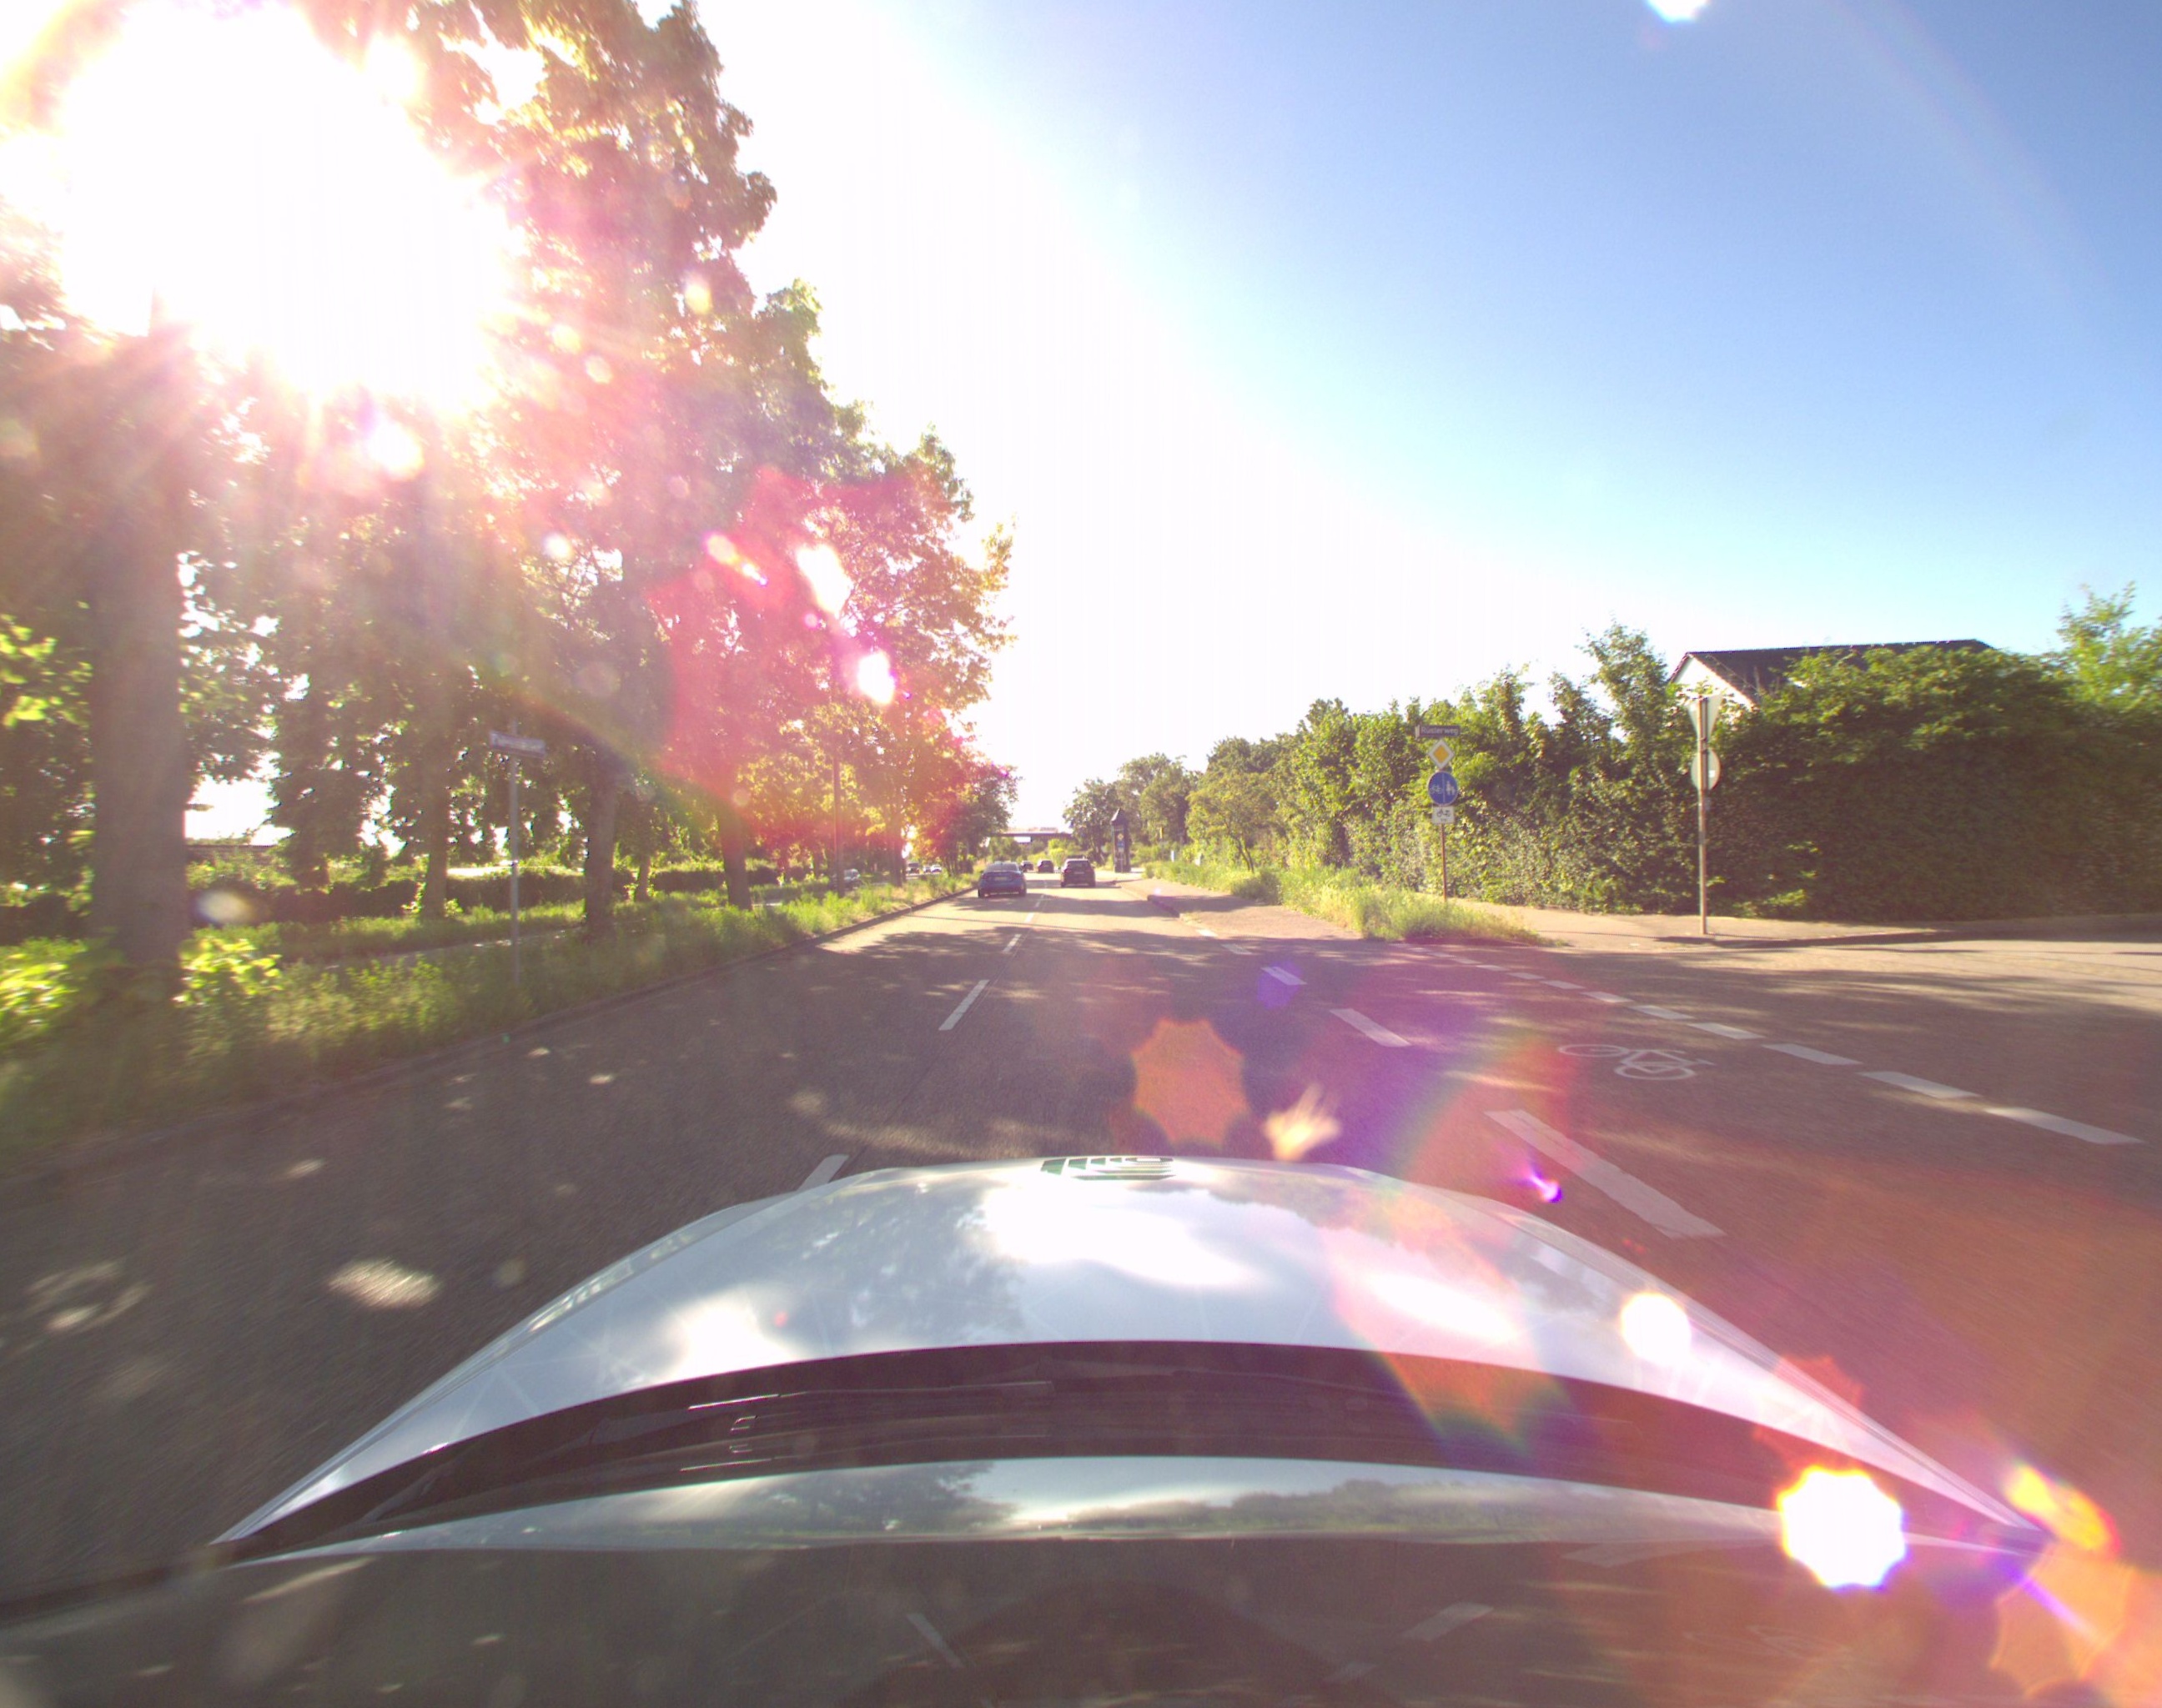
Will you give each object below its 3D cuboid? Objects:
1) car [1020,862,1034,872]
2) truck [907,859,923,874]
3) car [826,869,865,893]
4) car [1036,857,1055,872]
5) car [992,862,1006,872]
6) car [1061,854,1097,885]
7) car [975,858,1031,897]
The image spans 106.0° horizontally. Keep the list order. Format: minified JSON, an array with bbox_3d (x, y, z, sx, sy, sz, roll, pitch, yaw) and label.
[{"bbox_3d":[-7.982,1.946,120.426,1.895,1.356,3.994,-2,0,-5],"label":"car"},{"bbox_3d":[-30.217,2.207,148.178,2.179,2.512,5.706,-4,0,-18],"label":"truck"},{"bbox_3d":[-16.518,1.881,57.238,1.691,1.436,4.929,-4,0,-6],"label":"car"},{"bbox_3d":[-3.912,1.145,89.306,1.743,1.597,4.163,-2,0,-8],"label":"car"},{"bbox_3d":[-12.336,1.978,122.563,1.895,1.356,3.994,-2,0,-5],"label":"car"},{"bbox_3d":[-0.146,0.832,42.599,1.755,1.559,3.997,-1,-2,-1],"label":"car"},{"bbox_3d":[-3.176,0.937,33.920,1.989,1.405,3.998,-3,0,-2],"label":"car"}]
